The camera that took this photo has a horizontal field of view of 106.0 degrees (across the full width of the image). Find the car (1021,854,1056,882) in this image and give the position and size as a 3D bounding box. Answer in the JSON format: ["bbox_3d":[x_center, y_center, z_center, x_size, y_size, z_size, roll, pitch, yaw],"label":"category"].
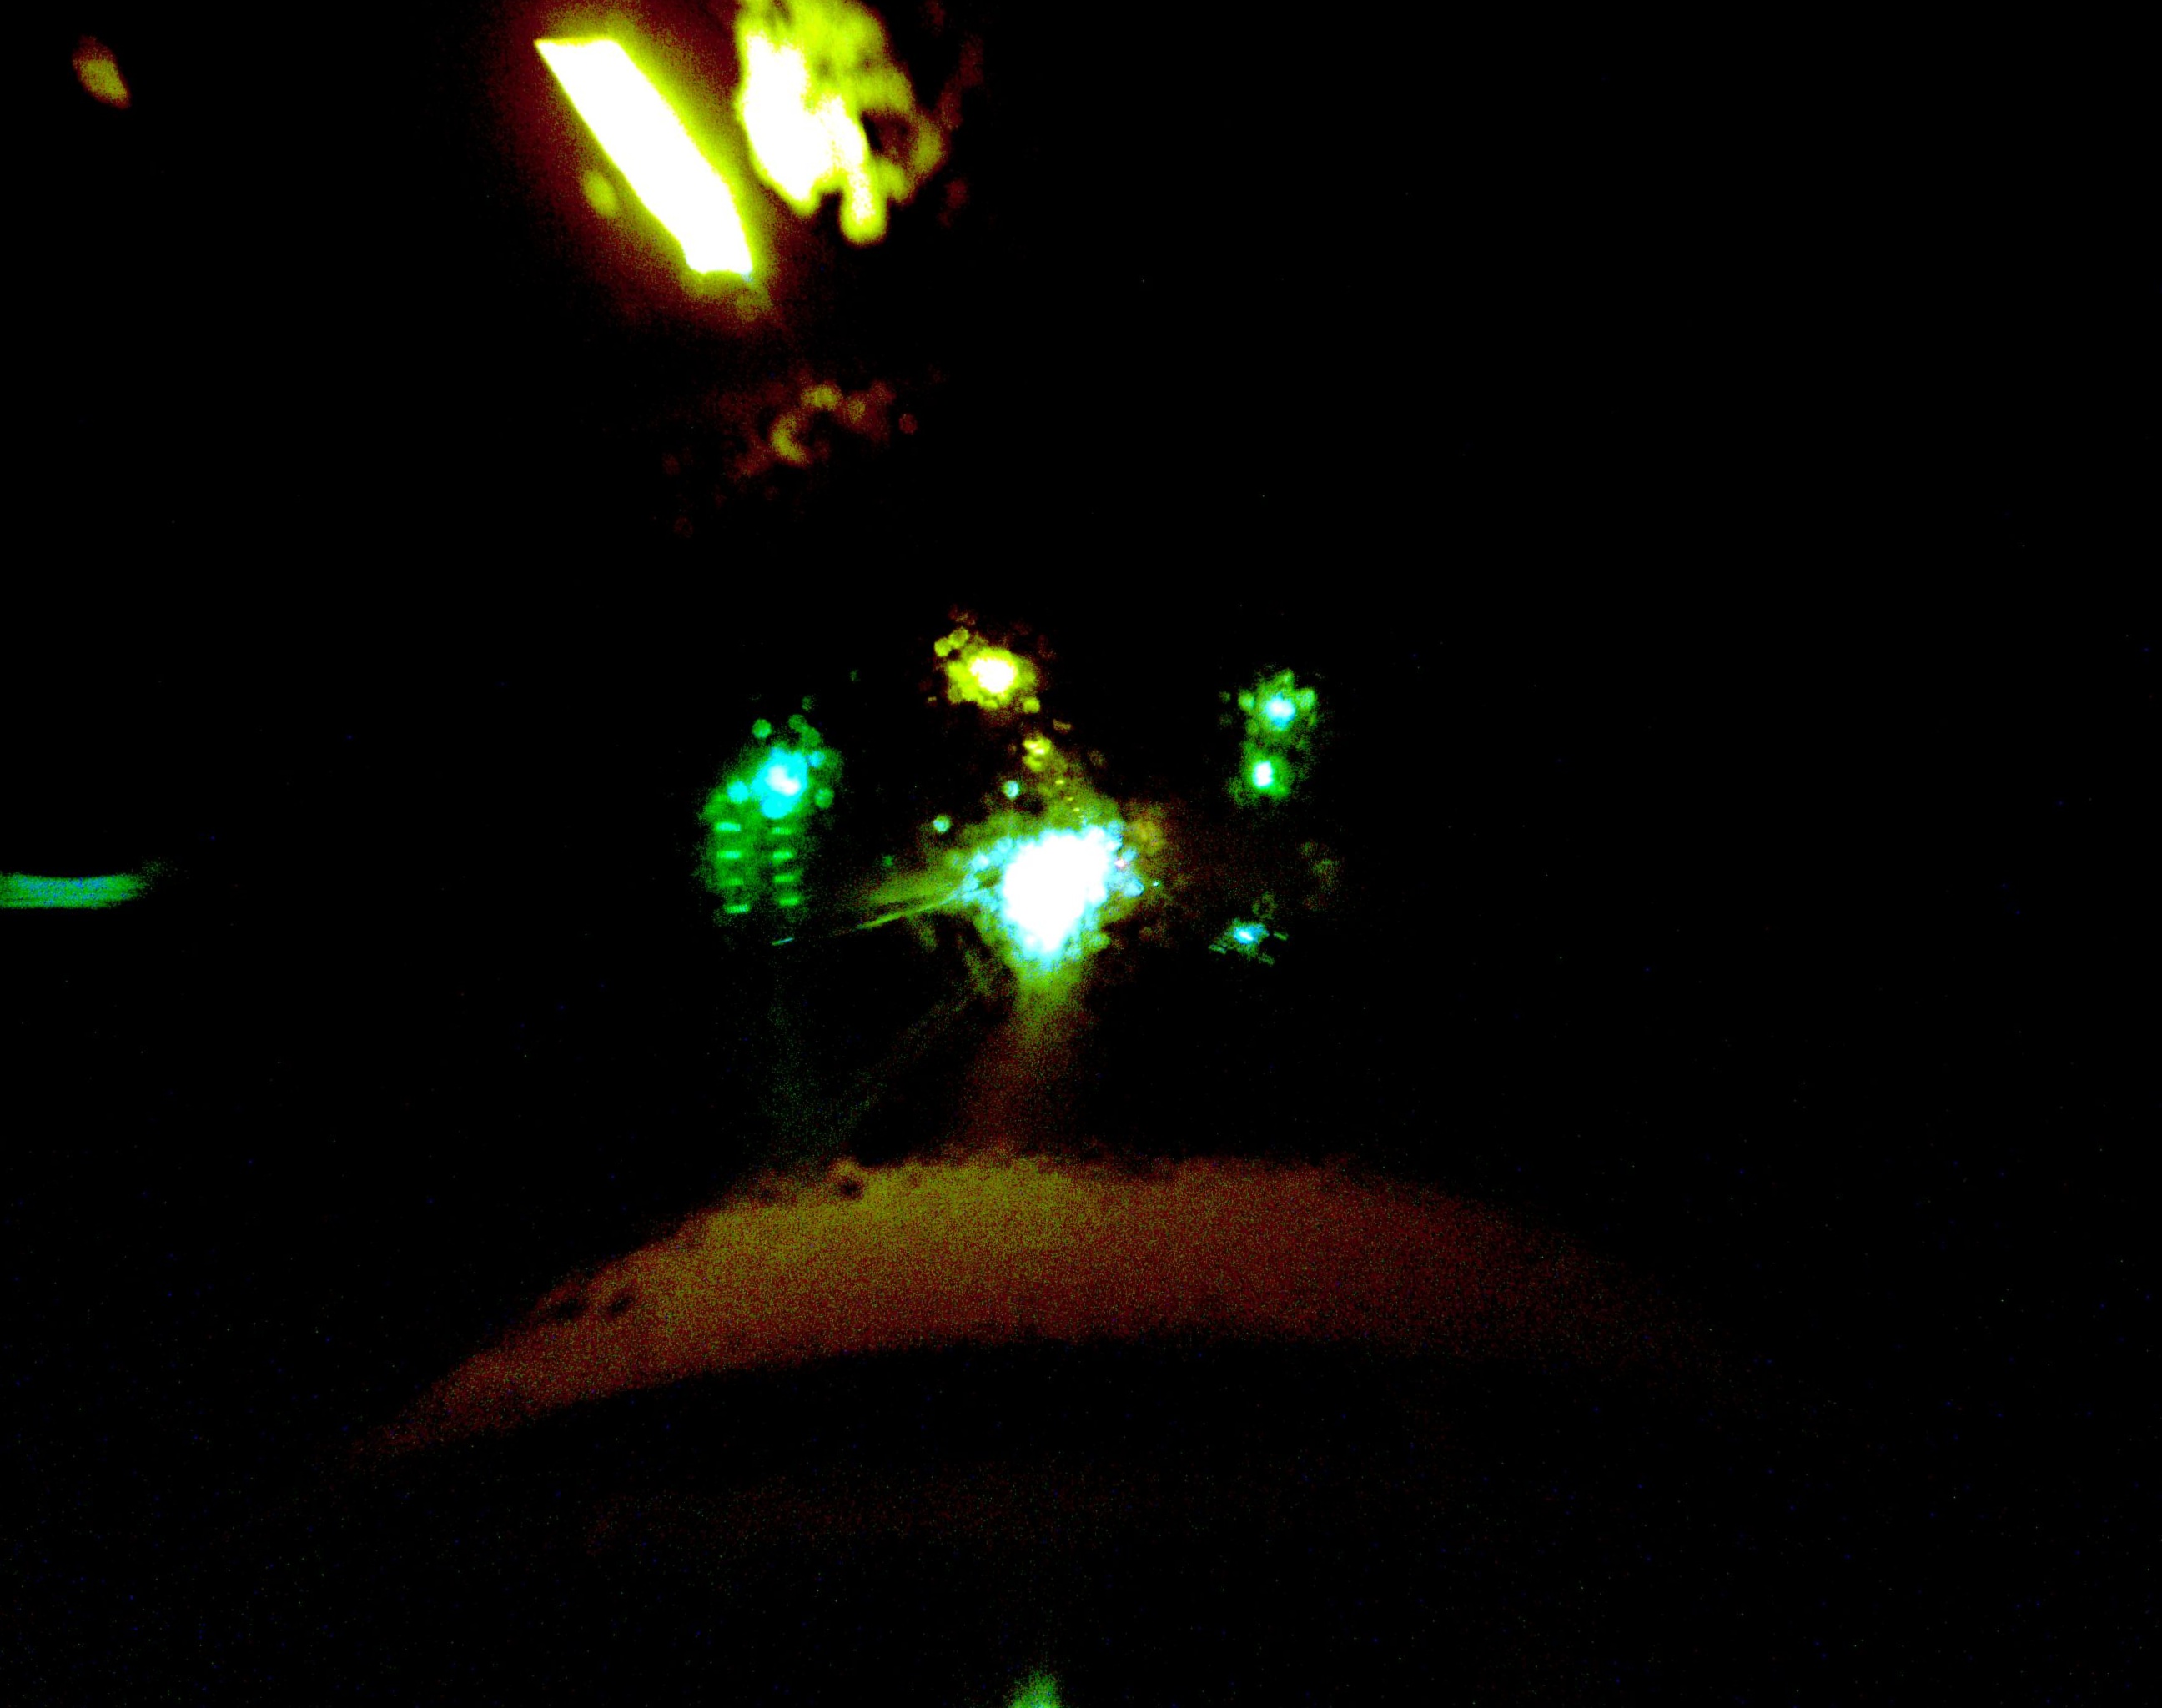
[{"bbox_3d":[-2.342,0.739,45.638,1.685,1.505,3.745,0,0,1],"label":"car"}]

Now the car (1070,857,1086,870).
[{"bbox_3d":[-0.299,1.066,93.576,1.704,1.462,3.576,-1,0,2],"label":"car"}]

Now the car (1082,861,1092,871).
[{"bbox_3d":[1.023,2.048,139.001,1.662,1.647,3.908,-3,0,2],"label":"car"}]

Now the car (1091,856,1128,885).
[{"bbox_3d":[1.677,0.974,48.663,2.082,1.662,4.001,0,-1,1],"label":"car"}]
